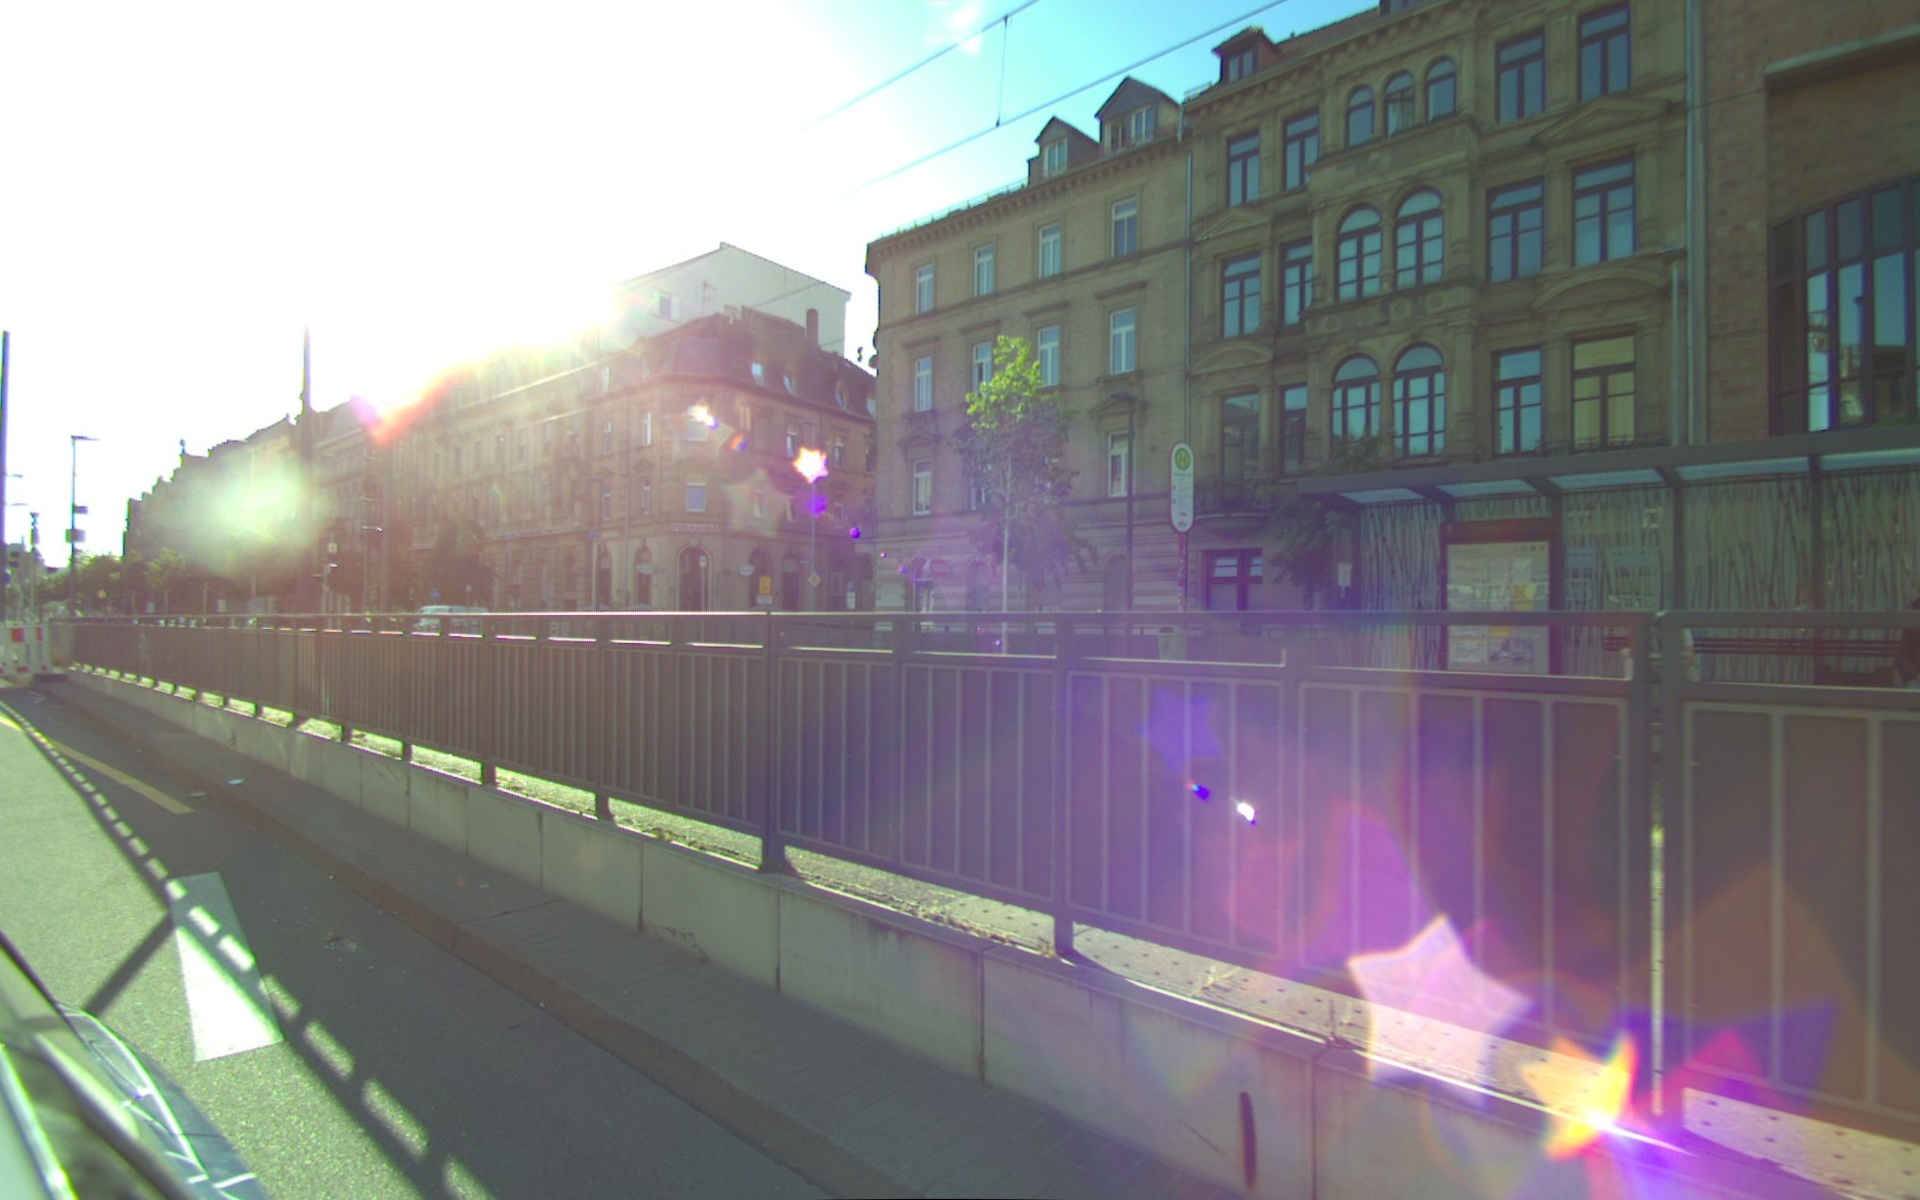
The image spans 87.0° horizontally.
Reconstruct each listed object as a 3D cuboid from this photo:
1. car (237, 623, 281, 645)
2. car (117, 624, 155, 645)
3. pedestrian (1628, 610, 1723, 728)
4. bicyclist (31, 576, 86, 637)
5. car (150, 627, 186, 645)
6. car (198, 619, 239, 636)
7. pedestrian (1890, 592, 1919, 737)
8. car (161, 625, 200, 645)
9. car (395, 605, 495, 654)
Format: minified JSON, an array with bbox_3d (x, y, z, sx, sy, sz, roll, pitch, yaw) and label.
[{"bbox_3d":[-54.709,2.638,78.953,4.546,1.671,1.916,-2,-1,44],"label":"car"},{"bbox_3d":[-67.622,2.838,83.008,4.477,1.652,1.776,-1,-2,43],"label":"car"},{"bbox_3d":[7.509,0.715,10.624,0.721,1.177,0.713,-1,-4,43],"label":"pedestrian"},{"bbox_3d":[-26.592,0.197,29.866,0.848,1.787,0.880,0,-2,16],"label":"bicyclist"},{"bbox_3d":[-76.579,3.461,97.794,4.984,1.549,1.972,-1,-1,43],"label":"car"},{"bbox_3d":[-63.658,2.357,86.815,4.307,1.449,1.972,-1,-2,42],"label":"car"},{"bbox_3d":[9.052,0.601,9.293,0.721,1.319,0.639,-1,-4,43],"label":"pedestrian"},{"bbox_3d":[-72.002,3.235,93.506,4.886,1.710,1.973,-1,-1,42],"label":"car"},{"bbox_3d":[-21.162,1.186,41.513,4.579,1.895,1.974,-1,-1,39],"label":"car"}]
